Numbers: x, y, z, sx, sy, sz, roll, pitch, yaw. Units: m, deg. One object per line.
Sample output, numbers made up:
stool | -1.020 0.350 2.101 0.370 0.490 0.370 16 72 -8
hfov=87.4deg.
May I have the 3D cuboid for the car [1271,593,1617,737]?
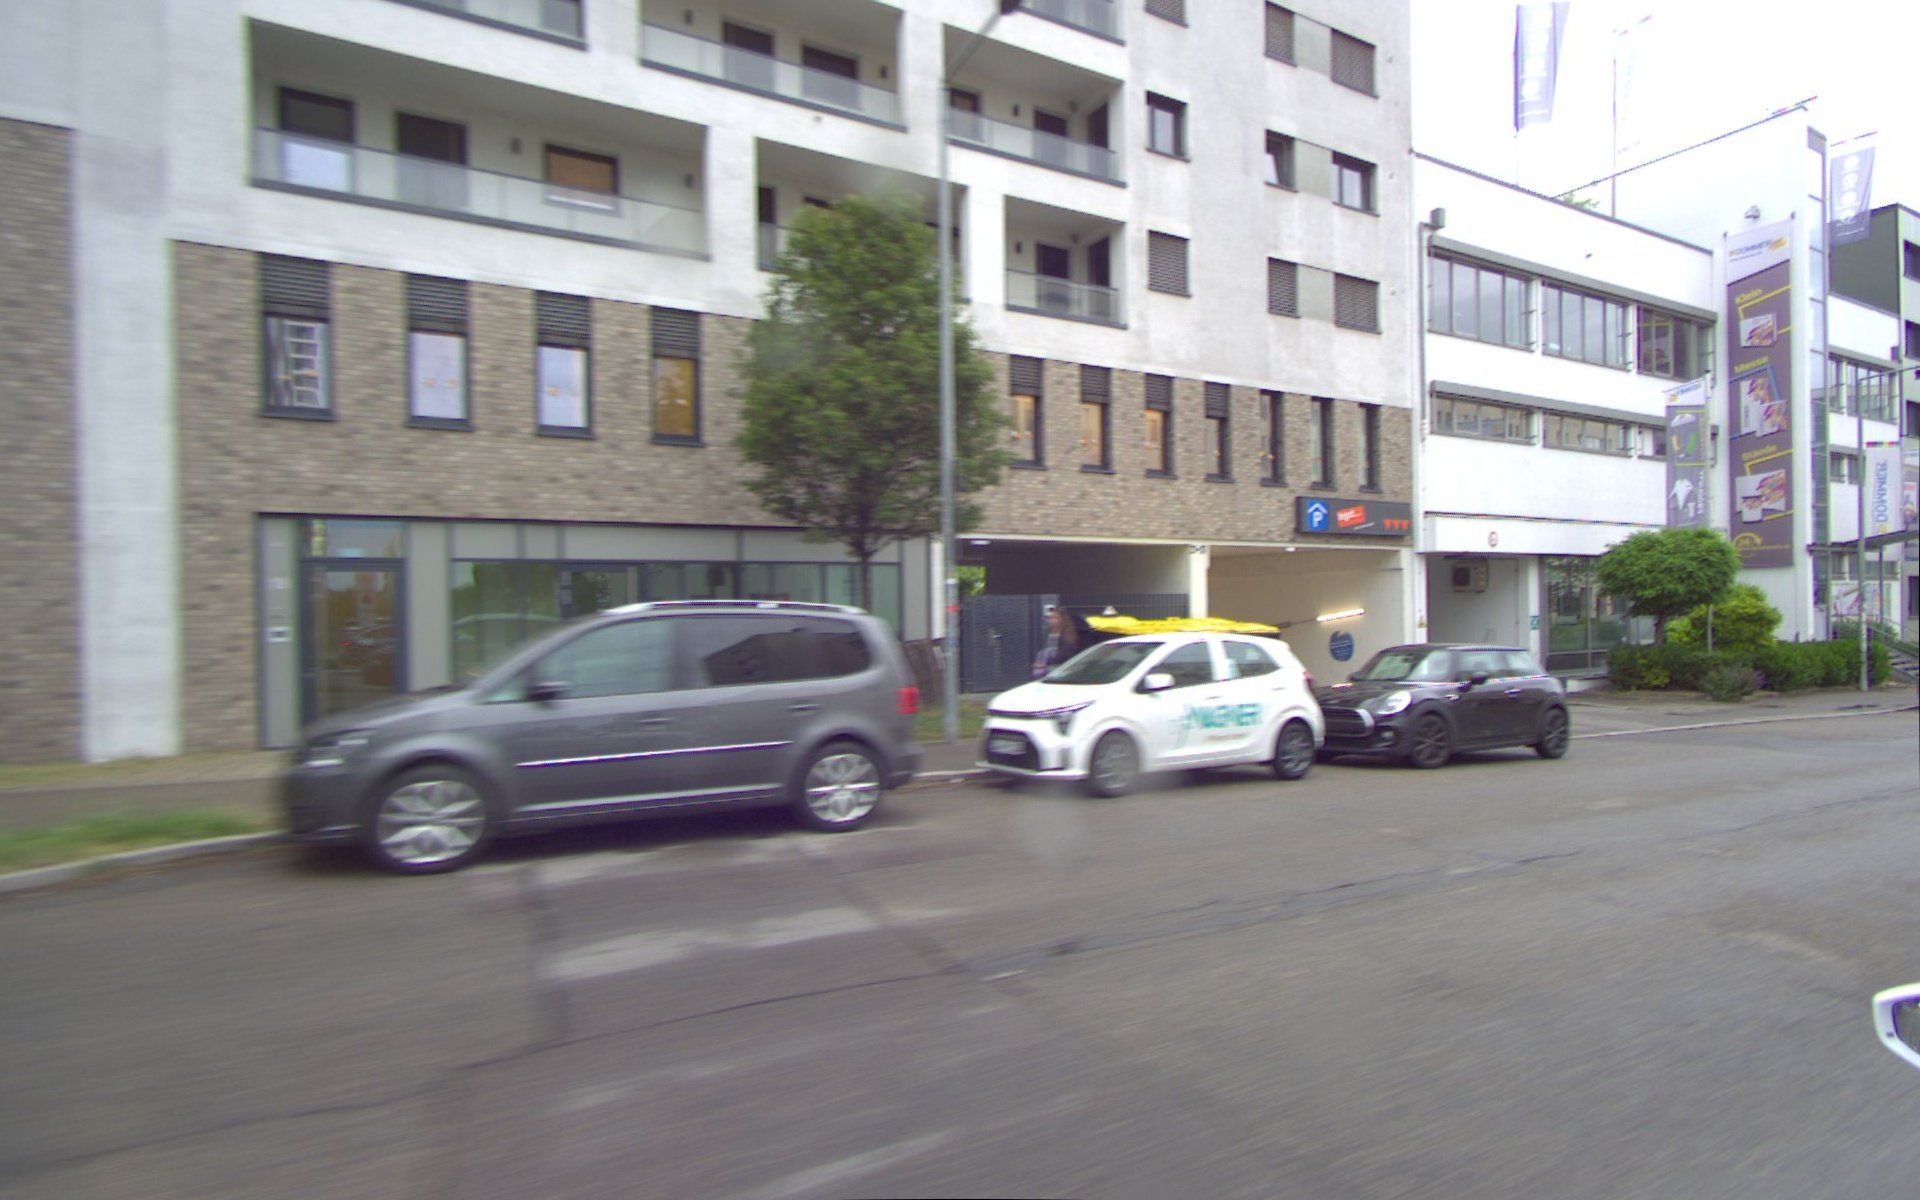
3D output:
car | 6.057 0.745 12.489 4.194 1.536 1.789 2 -1 -29
